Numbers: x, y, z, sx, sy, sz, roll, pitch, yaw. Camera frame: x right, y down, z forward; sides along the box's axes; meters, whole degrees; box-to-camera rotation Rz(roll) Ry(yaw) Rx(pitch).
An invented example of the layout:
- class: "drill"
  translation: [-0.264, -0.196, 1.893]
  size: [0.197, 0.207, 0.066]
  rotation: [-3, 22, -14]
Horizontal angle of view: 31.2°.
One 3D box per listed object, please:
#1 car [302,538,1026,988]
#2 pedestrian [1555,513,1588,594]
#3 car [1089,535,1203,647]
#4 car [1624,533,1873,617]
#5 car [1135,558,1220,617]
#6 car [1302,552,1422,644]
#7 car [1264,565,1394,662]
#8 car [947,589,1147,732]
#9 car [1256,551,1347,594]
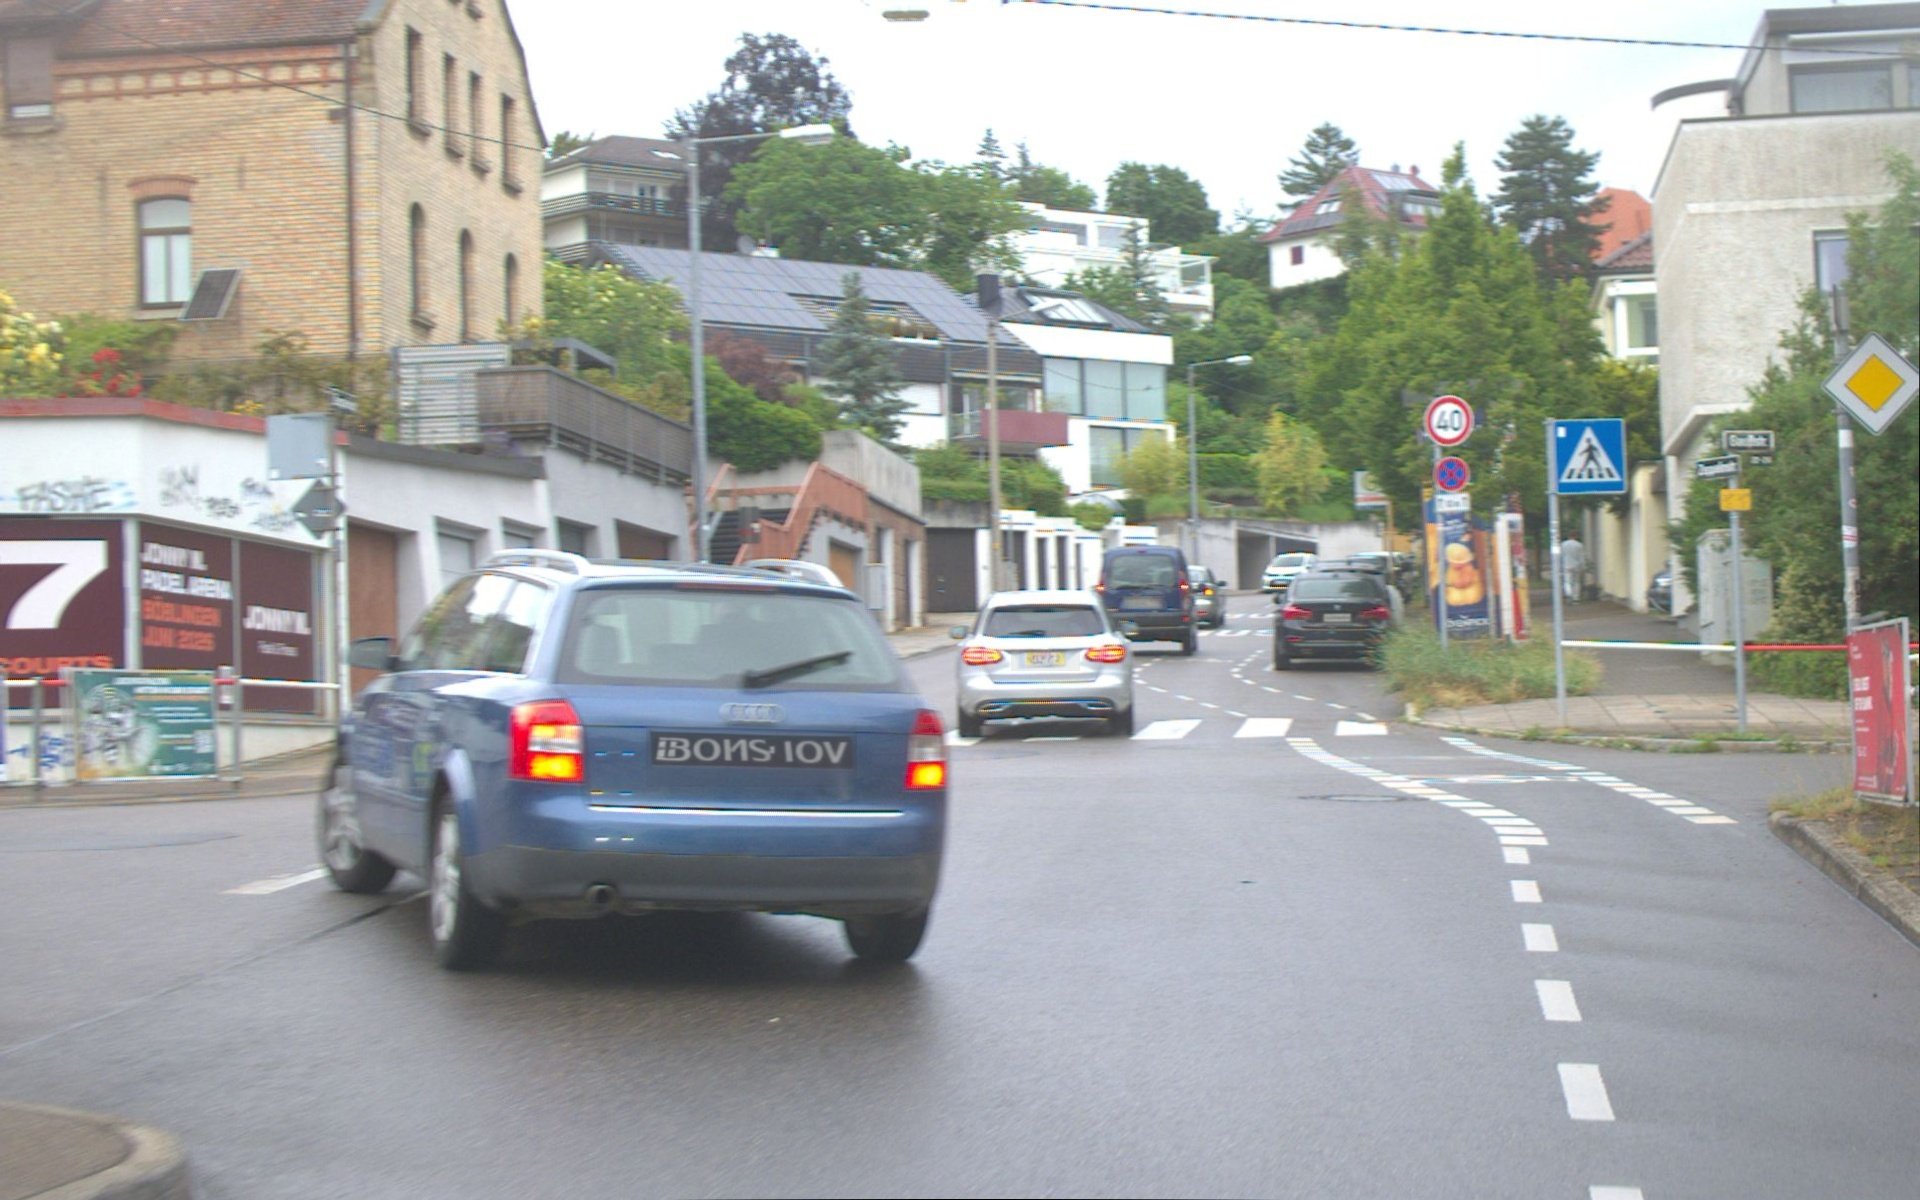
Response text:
- class: "car"
  translation: [-1.308, 0.524, 13.159]
  size: [1.811, 1.434, 4.082]
  rotation: [2, 0, -18]
- class: "pedestrian"
  translation: [13.617, -1.042, 76.575]
  size: [0.638, 1.789, 0.744]
  rotation: [-1, 1, 5]
- class: "car"
  translation: [3.182, -0.178, 58.332]
  size: [1.824, 1.813, 3.999]
  rotation: [-1, 1, 4]
- class: "car"
  translation: [13.745, -0.434, 59.895]
  size: [3.991, 1.410, 1.723]
  rotation: [0, 0, 22]
- class: "car"
  translation: [4.960, -0.299, 78.043]
  size: [1.824, 1.292, 3.999]
  rotation: [-1, 1, 5]
- class: "car"
  translation: [6.657, -0.056, 57.252]
  size: [1.716, 1.445, 3.833]
  rotation: [-1, 1, 3]
- class: "car"
  translation: [5.543, 0.171, 51.973]
  size: [1.771, 1.373, 4.348]
  rotation: [-1, 1, 4]
- class: "car"
  translation: [0.838, 0.608, 35.426]
  size: [1.811, 1.356, 4.000]
  rotation: [1, -1, -2]
- class: "car"
  translation: [12.937, -1.053, 130.100]
  size: [1.732, 1.601, 3.540]
  rotation: [0, 0, 40]
